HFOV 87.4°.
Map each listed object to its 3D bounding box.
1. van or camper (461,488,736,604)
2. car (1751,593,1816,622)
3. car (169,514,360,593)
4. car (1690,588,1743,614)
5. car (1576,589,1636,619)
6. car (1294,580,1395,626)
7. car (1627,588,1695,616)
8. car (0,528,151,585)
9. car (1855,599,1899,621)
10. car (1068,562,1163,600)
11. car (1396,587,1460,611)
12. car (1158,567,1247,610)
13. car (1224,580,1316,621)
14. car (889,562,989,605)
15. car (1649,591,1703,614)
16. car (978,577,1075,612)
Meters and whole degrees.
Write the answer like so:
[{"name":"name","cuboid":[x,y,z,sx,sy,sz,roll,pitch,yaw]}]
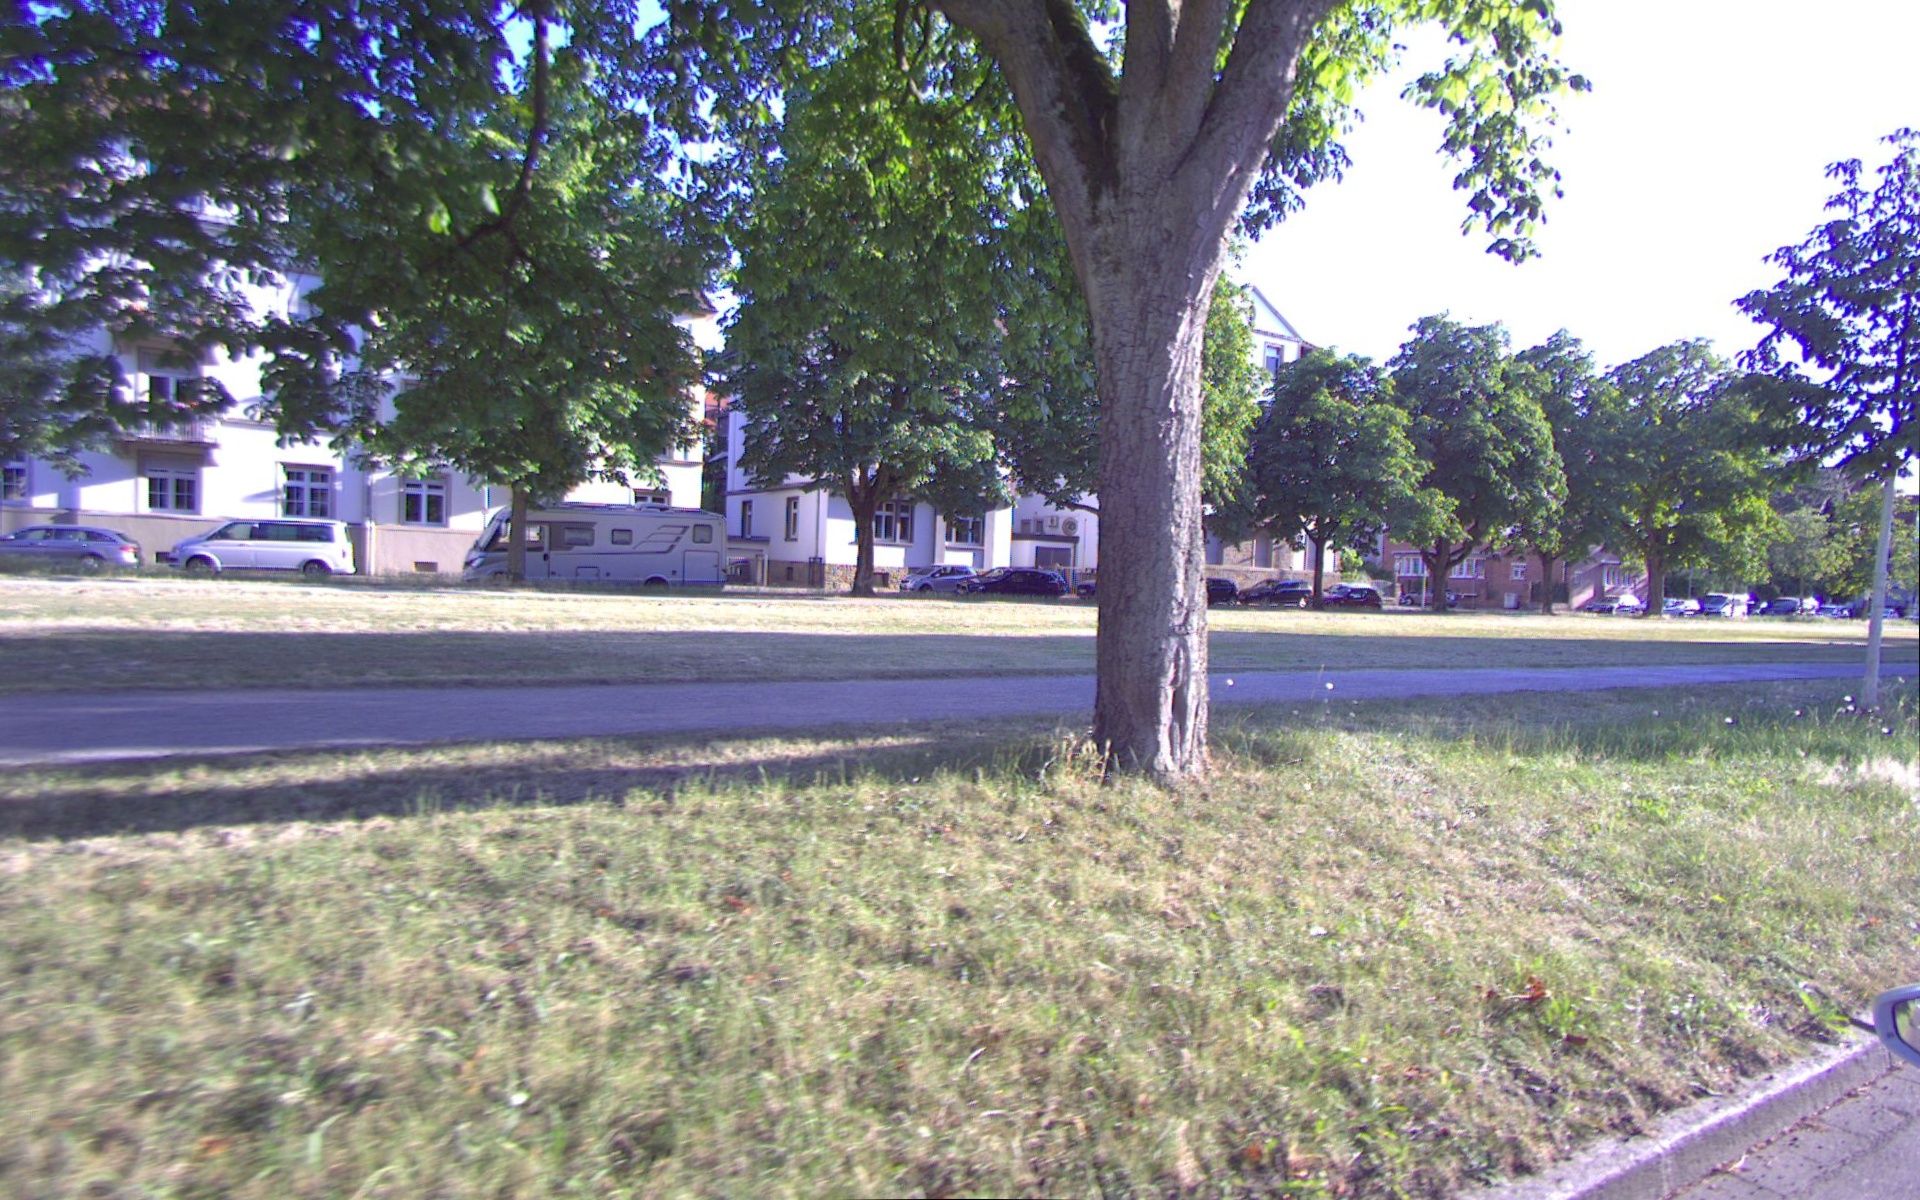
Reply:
[{"name":"van or camper","cuboid":[-11.484,-1.607,32.085,7.803,3.152,3.238,1,2,-30]},{"name":"car","cuboid":[61.721,0.576,75.267,5.183,1.967,1.984,1,3,-30]},{"name":"car","cuboid":[-22.171,-1.465,32.306,4.816,2.232,1.985,2,2,-29]},{"name":"car","cuboid":[61.442,0.076,81.552,4.356,1.862,1.808,1,3,-30]},{"name":"car","cuboid":[46.645,0.289,72.519,4.316,2.041,1.748,1,3,-30]},{"name":"car","cuboid":[19.147,0.158,50.010,4.816,2.041,1.985,2,2,-29]},{"name":"car","cuboid":[45.491,0.143,65.131,4.596,1.661,1.810,1,3,-31]},{"name":"car","cuboid":[-26.857,-1.292,29.304,4.822,1.473,1.982,1,3,-33]},{"name":"car","cuboid":[89.948,1.011,98.500,3.952,2.040,2.022,2,0,-29]},{"name":"car","cuboid":[7.741,-0.948,49.804,4.379,1.675,1.983,1,2,-32]},{"name":"car","cuboid":[35.081,-0.085,75.315,1.842,1.506,3.969,1,3,-29]},{"name":"car","cuboid":[12.797,-0.607,52.950,4.379,2.041,1.983,1,3,-32]},{"name":"car","cuboid":[17.100,0.022,55.441,4.816,2.041,1.985,2,2,-29]},{"name":"car","cuboid":[-0.917,-0.736,44.740,3.951,1.758,1.985,1,3,-29]},{"name":"car","cuboid":[56.401,0.190,79.106,4.254,1.645,1.748,1,3,-30]},{"name":"car","cuboid":[3.154,-0.251,47.415,4.117,1.449,1.985,1,3,-29]}]
